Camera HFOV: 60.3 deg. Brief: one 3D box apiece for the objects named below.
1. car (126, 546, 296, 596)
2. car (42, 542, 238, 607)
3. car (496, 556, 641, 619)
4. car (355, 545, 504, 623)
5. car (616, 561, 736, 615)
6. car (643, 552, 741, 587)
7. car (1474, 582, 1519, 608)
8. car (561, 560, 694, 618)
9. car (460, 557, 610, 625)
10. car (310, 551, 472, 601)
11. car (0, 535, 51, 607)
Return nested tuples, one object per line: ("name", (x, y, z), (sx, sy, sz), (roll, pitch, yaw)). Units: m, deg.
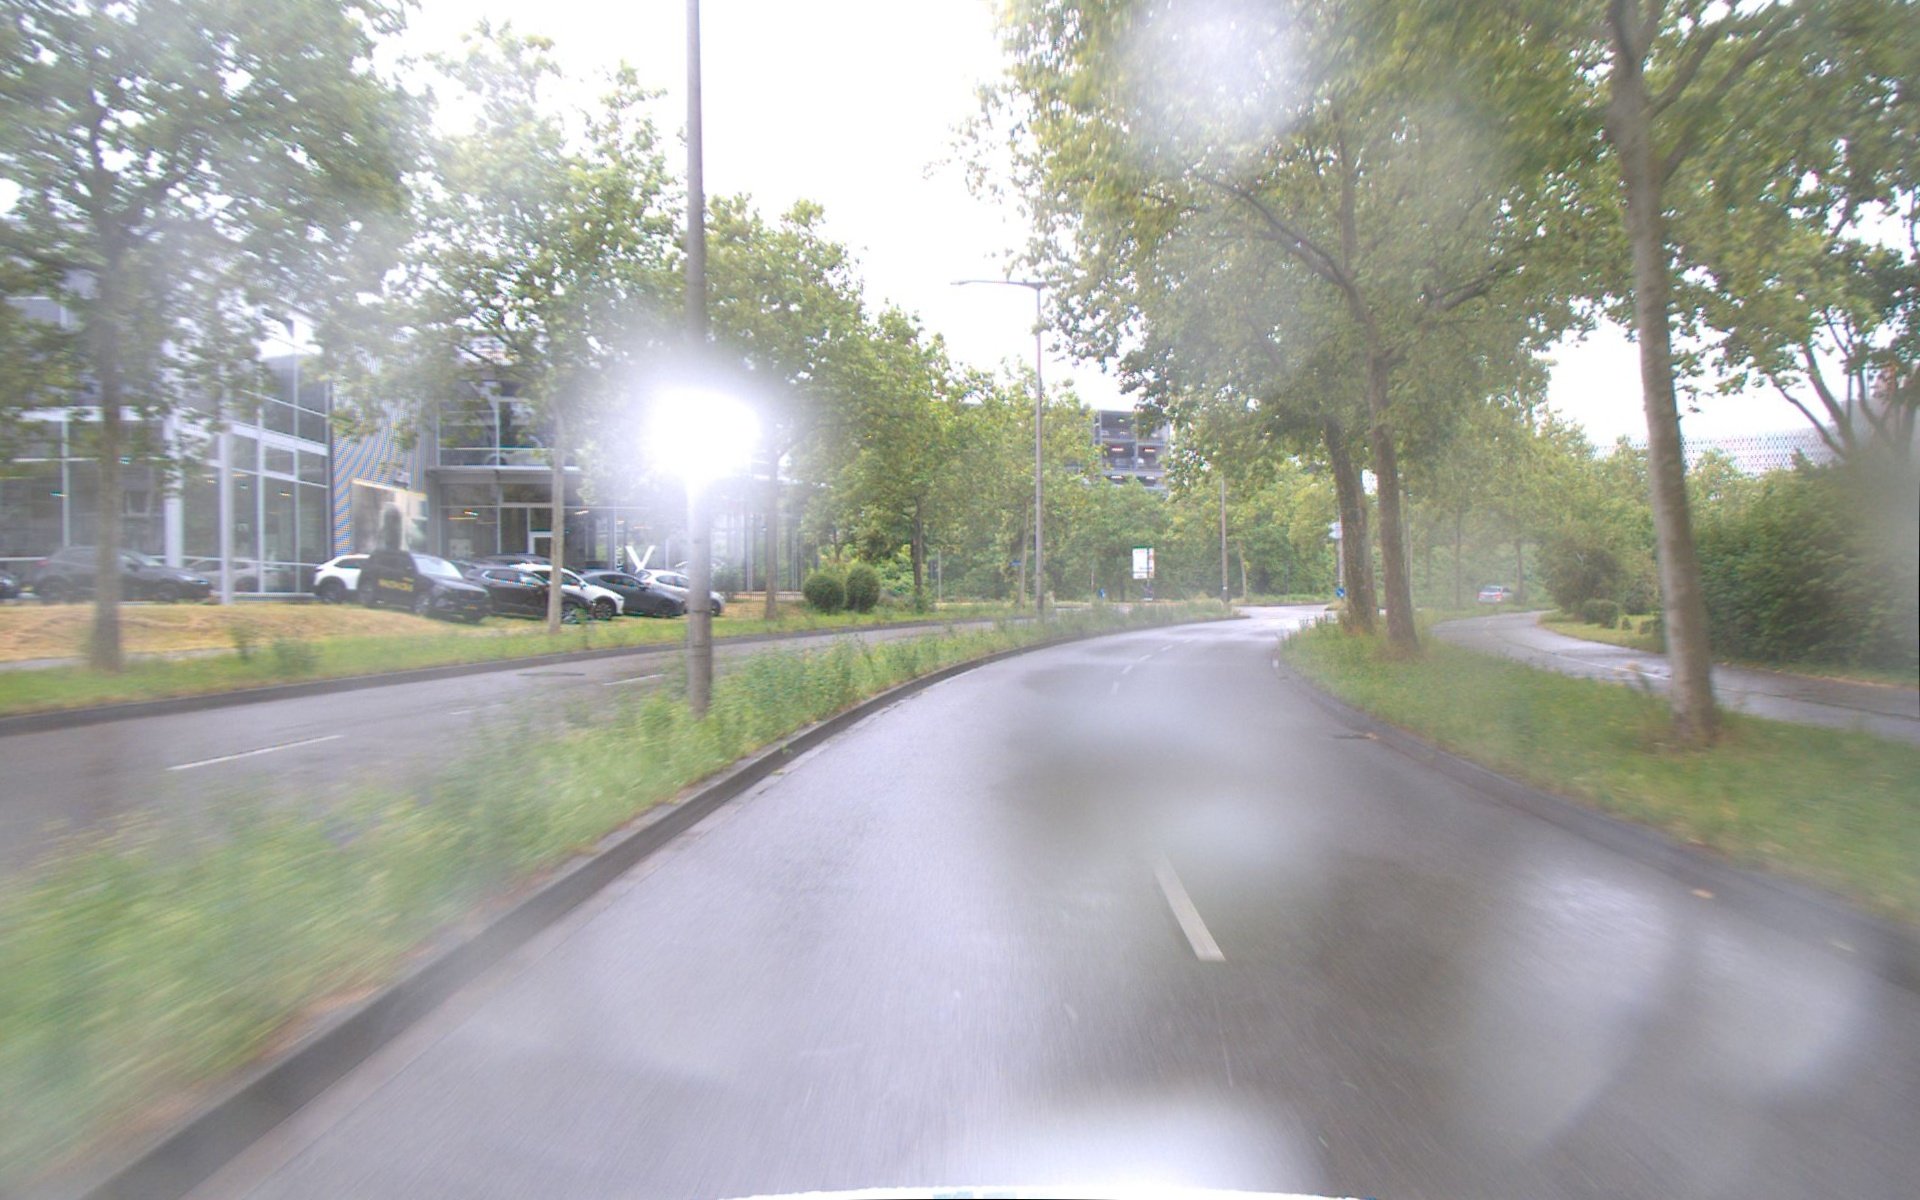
("car", (-23.016, -0.893, 50.945), (4.334, 1.499, 1.919), (0, 0, -4))
("car", (-20.089, -0.645, 40.673), (3.926, 1.381, 1.842), (2, 2, -13))
("car", (-12.622, -0.408, 53.441), (4.080, 1.503, 1.828), (6, 3, -34))
("car", (-14.993, -0.454, 46.626), (4.358, 1.582, 1.838), (9, 3, 39))
("car", (-10.532, -0.444, 61.501), (3.961, 1.500, 1.761), (5, 3, -39))
("car", (-11.750, -1.310, 72.700), (1.753, 1.501, 4.087), (1, 1, 42))
("car", (36.200, -0.351, 111.617), (1.750, 1.582, 3.985), (2, 2, 36))
("car", (-11.517, -0.378, 57.303), (4.074, 1.446, 1.830), (6, 3, -31))
("car", (-12.984, -0.277, 50.512), (4.067, 1.503, 1.834), (6, 2, -27))
("car", (-17.573, -0.736, 51.234), (4.329, 1.499, 1.921), (0, 0, 3))
("car", (-20.901, -0.667, 33.543), (3.912, 1.381, 1.849), (3, 2, 5))
